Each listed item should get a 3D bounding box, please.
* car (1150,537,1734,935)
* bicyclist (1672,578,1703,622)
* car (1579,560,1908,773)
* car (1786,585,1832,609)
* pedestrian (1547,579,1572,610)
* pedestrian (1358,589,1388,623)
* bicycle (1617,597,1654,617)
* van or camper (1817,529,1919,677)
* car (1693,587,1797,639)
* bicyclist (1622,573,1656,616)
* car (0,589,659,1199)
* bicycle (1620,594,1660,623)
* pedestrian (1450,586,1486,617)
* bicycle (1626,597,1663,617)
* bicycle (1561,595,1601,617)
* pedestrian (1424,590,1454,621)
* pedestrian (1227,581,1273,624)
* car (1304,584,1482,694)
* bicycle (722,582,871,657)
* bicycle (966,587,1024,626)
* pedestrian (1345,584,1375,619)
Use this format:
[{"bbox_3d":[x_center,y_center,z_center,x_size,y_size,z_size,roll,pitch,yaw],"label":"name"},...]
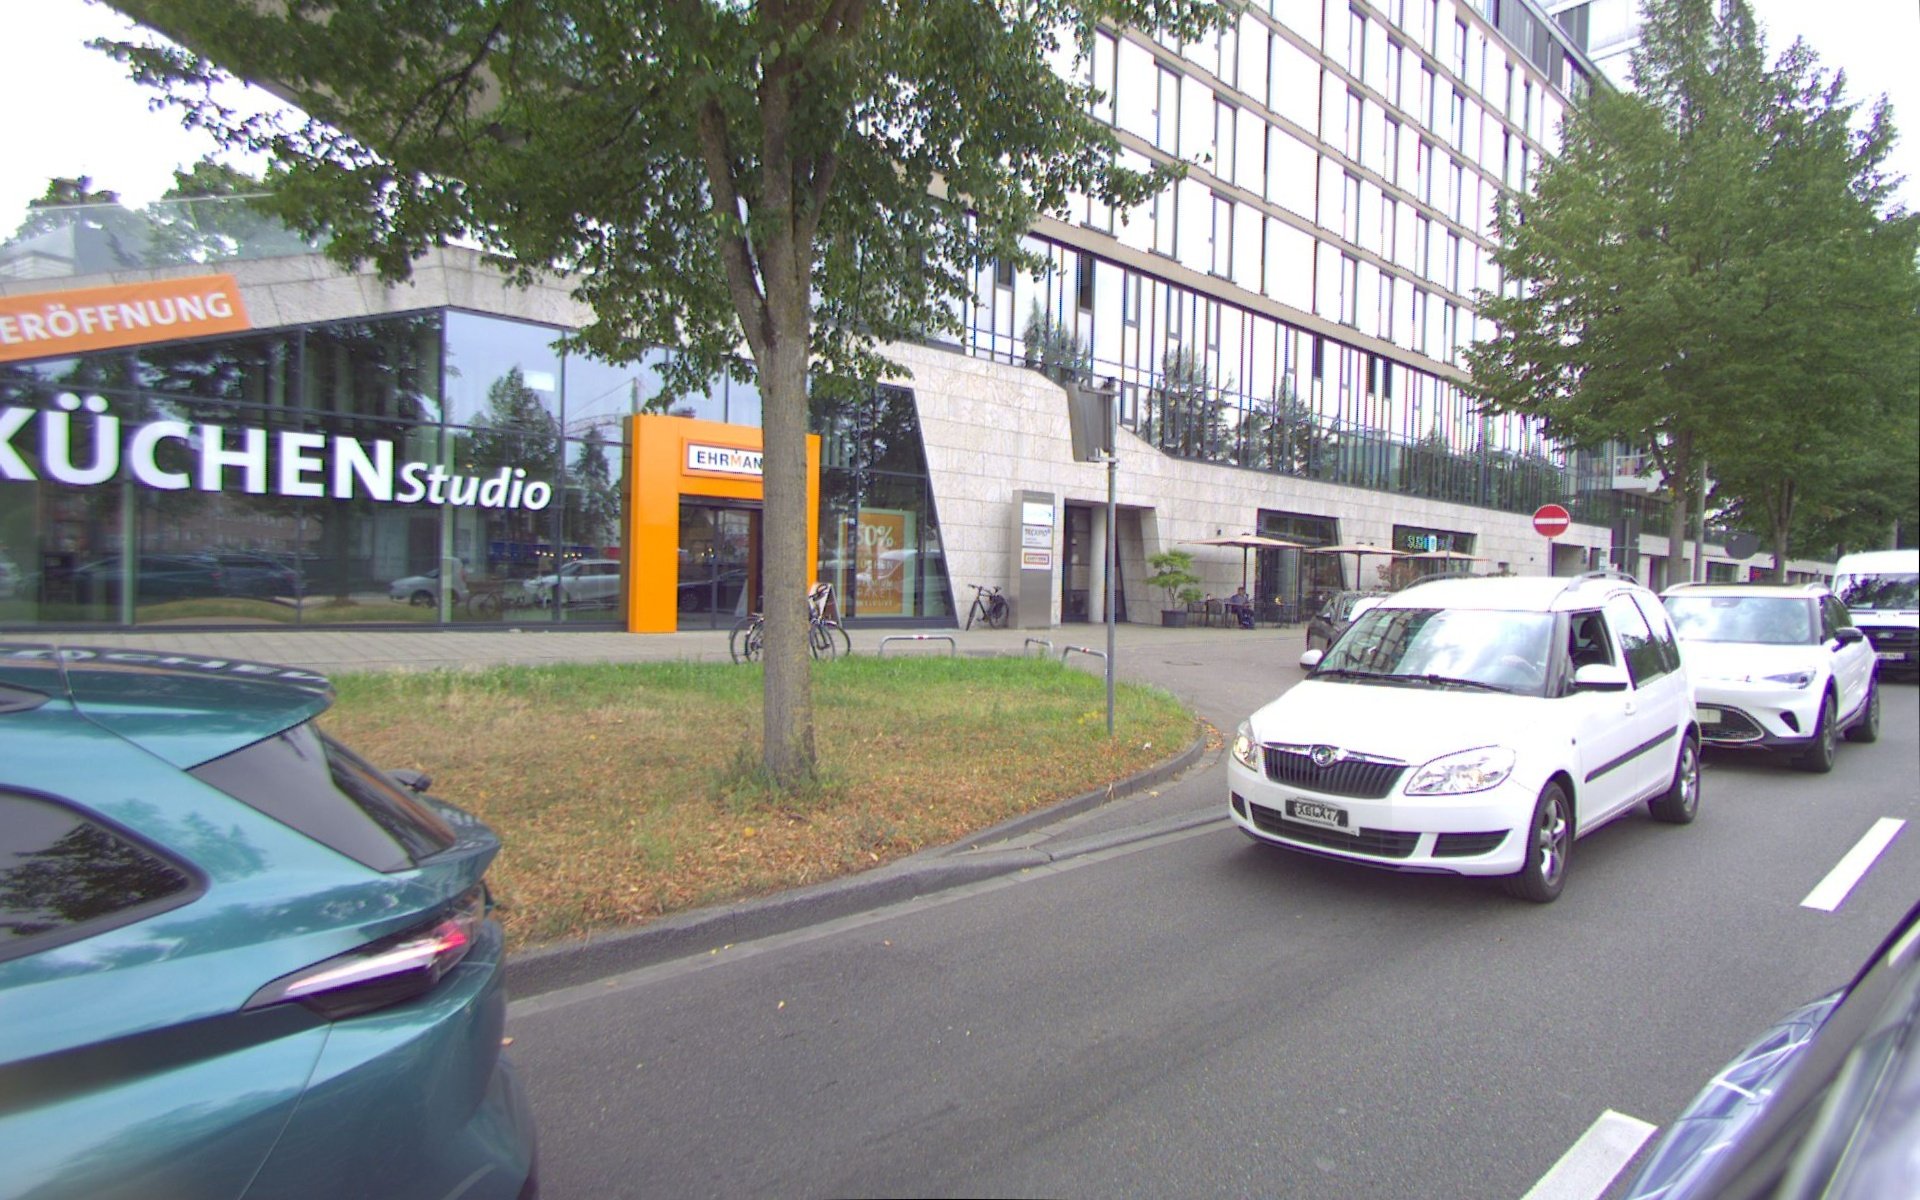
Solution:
[{"bbox_3d":[3.139,0.548,6.230,3.953,1.677,1.782,0,2,-41],"label":"car"},{"bbox_3d":[26.970,-0.010,37.534,0.725,1.601,0.974,4,3,44],"label":"bicyclist"},{"bbox_3d":[7.812,0.502,9.964,3.953,1.677,1.782,0,2,-41],"label":"car"},{"bbox_3d":[61.814,-0.204,73.667,4.166,1.607,1.862,0,4,-41],"label":"car"},{"bbox_3d":[28.555,-0.251,48.169,0.707,1.424,0.759,1,1,-33],"label":"pedestrian"},{"bbox_3d":[15.056,0.216,36.937,0.745,1.207,0.720,1,1,-39],"label":"pedestrian"},{"bbox_3d":[36.970,0.379,55.389,0.524,1.039,1.599,0,2,-43],"label":"bicycle"},{"bbox_3d":[18.631,0.055,19.684,6.230,2.540,2.181,0,0,-42],"label":"van or camper"},{"bbox_3d":[26.028,0.410,33.502,4.514,1.571,1.941,1,1,-42],"label":"car"},{"bbox_3d":[26.059,-0.215,38.820,0.971,1.601,0.727,0,3,-36],"label":"bicyclist"},{"bbox_3d":[-2.639,0.705,0.853,4.239,1.450,1.789,0,0,-44],"label":"car"},{"bbox_3d":[26.171,0.323,38.925,1.970,1.055,0.675,1,1,-38],"label":"bicycle"},{"bbox_3d":[20.501,0.063,40.829,1.083,1.207,0.776,1,1,-26],"label":"pedestrian"},{"bbox_3d":[38.307,0.387,56.615,0.524,1.039,1.599,0,2,-43],"label":"bicycle"},{"bbox_3d":[31.153,0.298,50.797,1.584,1.039,0.606,3,2,23],"label":"bicycle"},{"bbox_3d":[19.121,0.215,40.384,0.743,1.207,0.723,1,1,-19],"label":"pedestrian"},{"bbox_3d":[8.520,0.069,29.735,0.932,1.243,0.900,1,1,-36],"label":"pedestrian"},{"bbox_3d":[7.000,0.510,16.885,1.919,1.494,4.850,2,1,14],"label":"car"},{"bbox_3d":[-2.241,0.249,14.089,0.630,0.968,2.074,2,2,44],"label":"bicycle"},{"bbox_3d":[0.872,0.165,25.135,1.467,0.921,0.519,0,1,-41],"label":"bicycle"},{"bbox_3d":[14.334,0.049,36.308,0.746,1.207,0.720,1,1,-42],"label":"pedestrian"}]
